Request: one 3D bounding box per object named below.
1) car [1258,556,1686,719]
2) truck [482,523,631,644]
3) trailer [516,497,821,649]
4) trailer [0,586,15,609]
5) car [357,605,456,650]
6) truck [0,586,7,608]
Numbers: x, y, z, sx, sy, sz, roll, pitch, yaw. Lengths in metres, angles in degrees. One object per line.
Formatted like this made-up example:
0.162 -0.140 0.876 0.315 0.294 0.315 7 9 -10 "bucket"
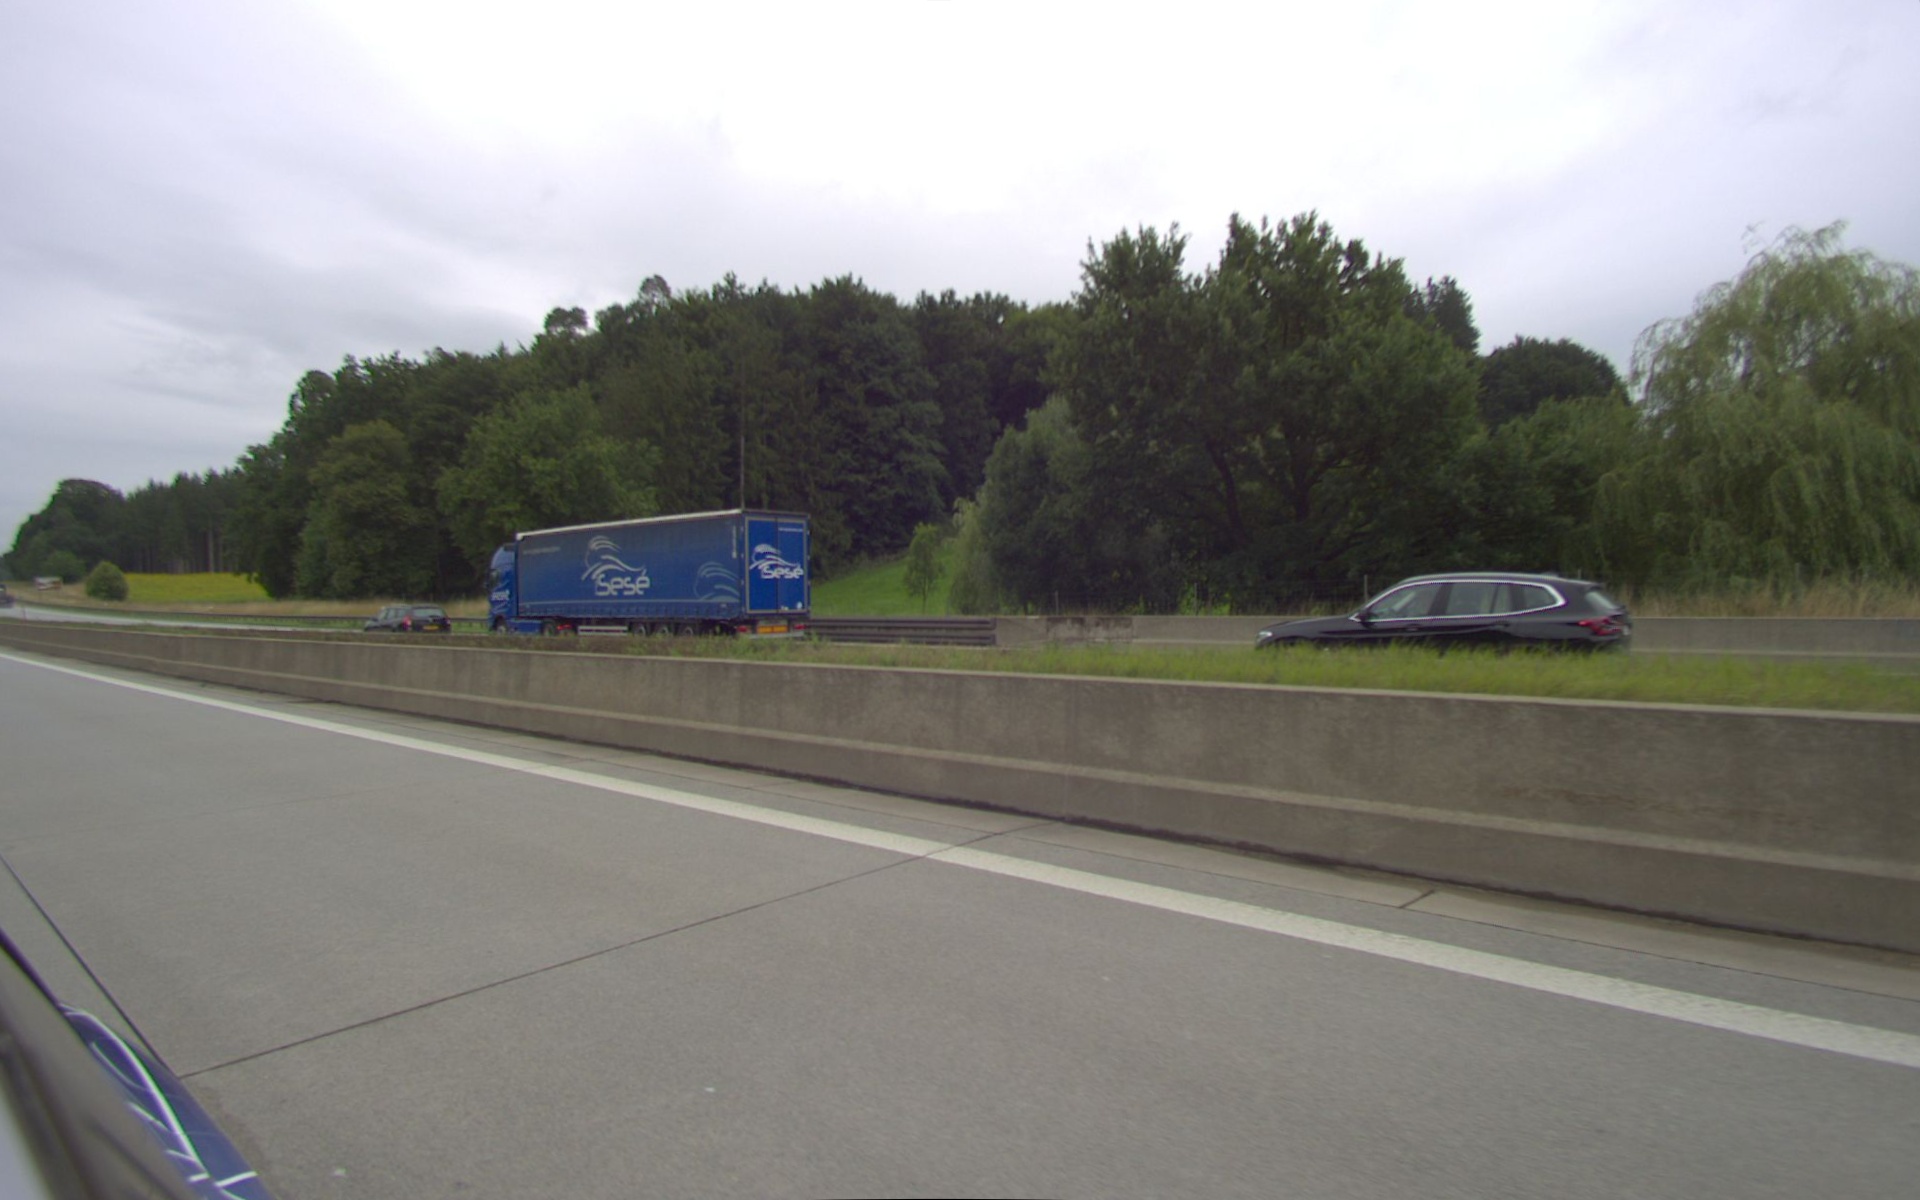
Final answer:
6.539 0.416 13.262 4.728 1.780 1.798 -1 0 40 "car"
-15.282 -0.552 38.169 6.208 4.220 2.663 -1 0 41 "truck"
-10.265 -0.649 33.755 13.786 4.240 2.682 -1 0 41 "trailer"
-153.272 -0.487 161.143 13.880 3.534 2.756 1 1 42 "trailer"
-20.233 0.945 36.948 4.514 1.511 1.620 0 1 40 "car"
-158.129 -0.529 165.425 6.638 3.543 2.728 1 1 41 "truck"
